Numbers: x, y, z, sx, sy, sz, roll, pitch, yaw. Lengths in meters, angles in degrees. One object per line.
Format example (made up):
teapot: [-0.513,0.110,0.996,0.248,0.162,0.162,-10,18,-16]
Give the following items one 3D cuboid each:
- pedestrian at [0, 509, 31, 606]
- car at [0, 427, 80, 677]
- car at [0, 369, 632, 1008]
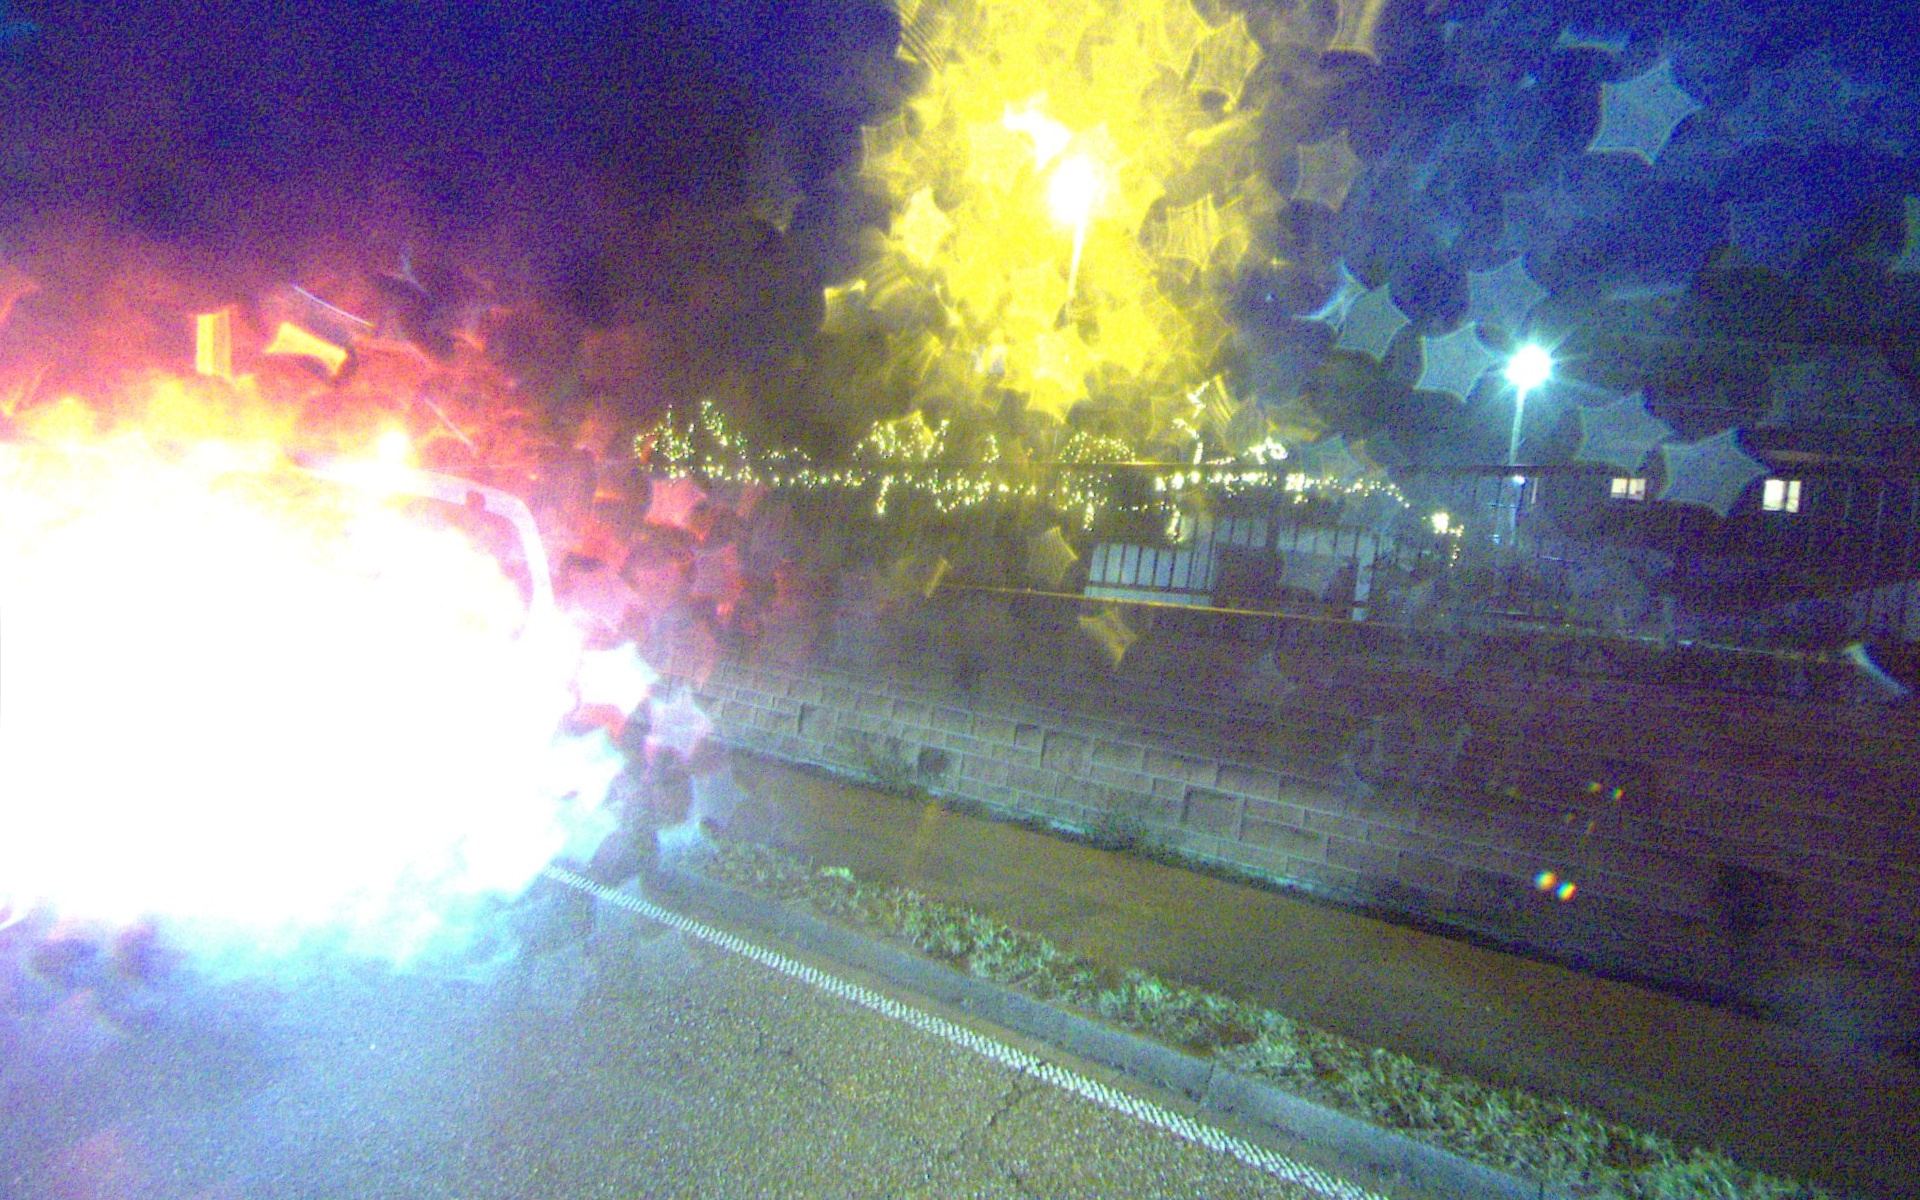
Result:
pedestrian: [-17.560,-0.795,18.338,0.532,1.721,0.624,7,-1,29]
car: [-9.998,-0.637,8.996,3.934,2.070,1.973,6,-2,32]
car: [-3.873,0.158,4.871,4.269,1.886,1.855,6,-2,32]
